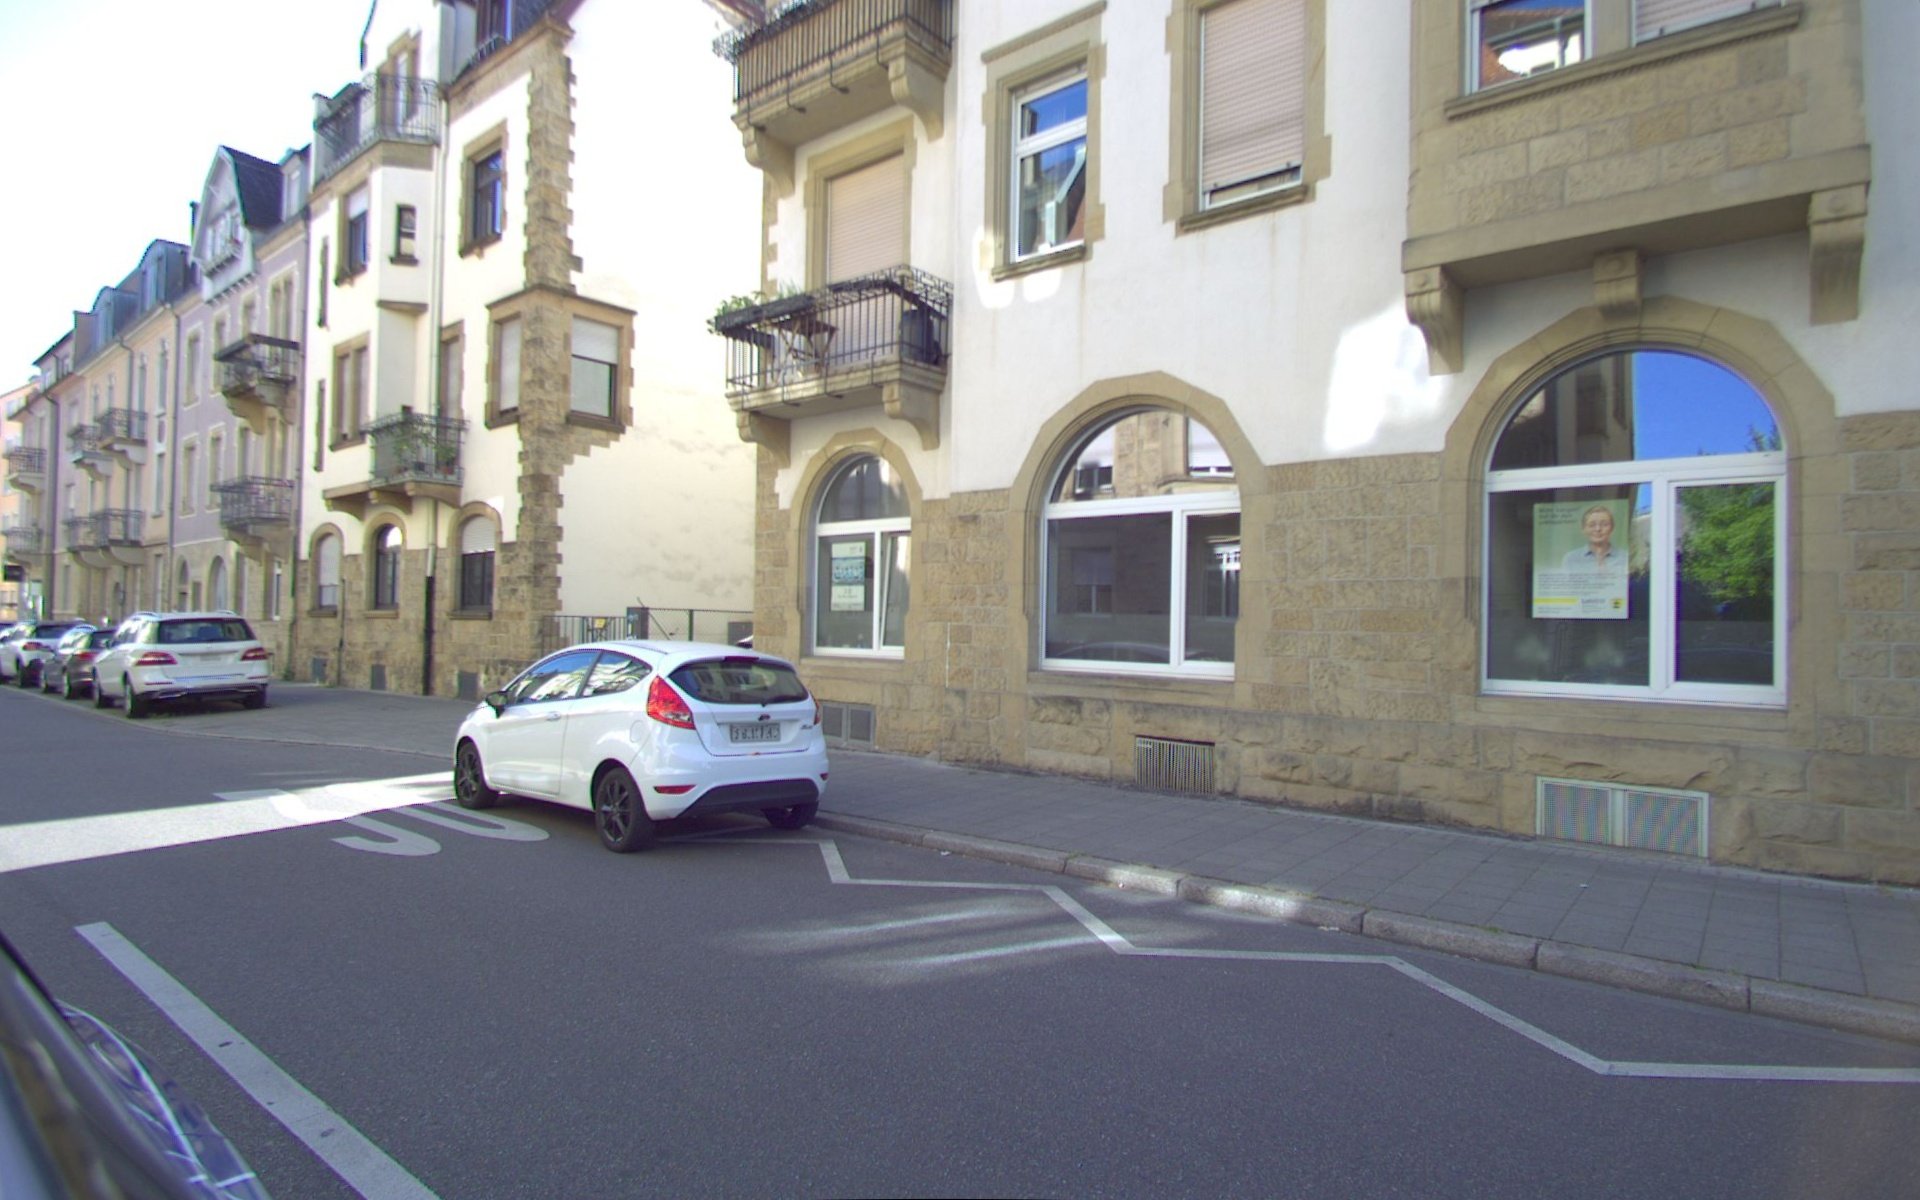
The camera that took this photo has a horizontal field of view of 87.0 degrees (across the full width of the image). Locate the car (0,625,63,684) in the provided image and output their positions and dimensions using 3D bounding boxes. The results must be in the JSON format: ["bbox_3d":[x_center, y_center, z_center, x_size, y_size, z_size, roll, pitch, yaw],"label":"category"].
[{"bbox_3d":[-27.161,1.510,28.878,4.317,1.511,1.833,-1,0,41],"label":"car"}]

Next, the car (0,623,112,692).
[{"bbox_3d":[-22.953,1.377,25.438,4.319,1.520,1.866,-1,0,41],"label":"car"}]

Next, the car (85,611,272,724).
[{"bbox_3d":[-13.976,1.094,18.020,4.209,1.740,1.866,-1,0,41],"label":"car"}]

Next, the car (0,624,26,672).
[{"bbox_3d":[-33.145,1.600,34.225,4.319,1.520,1.866,-1,0,41],"label":"car"}]

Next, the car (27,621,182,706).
[{"bbox_3d":[-18.449,1.284,21.757,4.319,1.519,1.866,-1,2,41],"label":"car"}]

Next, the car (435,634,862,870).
[{"bbox_3d":[-2.637,1.041,8.180,3.642,1.469,1.634,-2,-5,42],"label":"car"}]
